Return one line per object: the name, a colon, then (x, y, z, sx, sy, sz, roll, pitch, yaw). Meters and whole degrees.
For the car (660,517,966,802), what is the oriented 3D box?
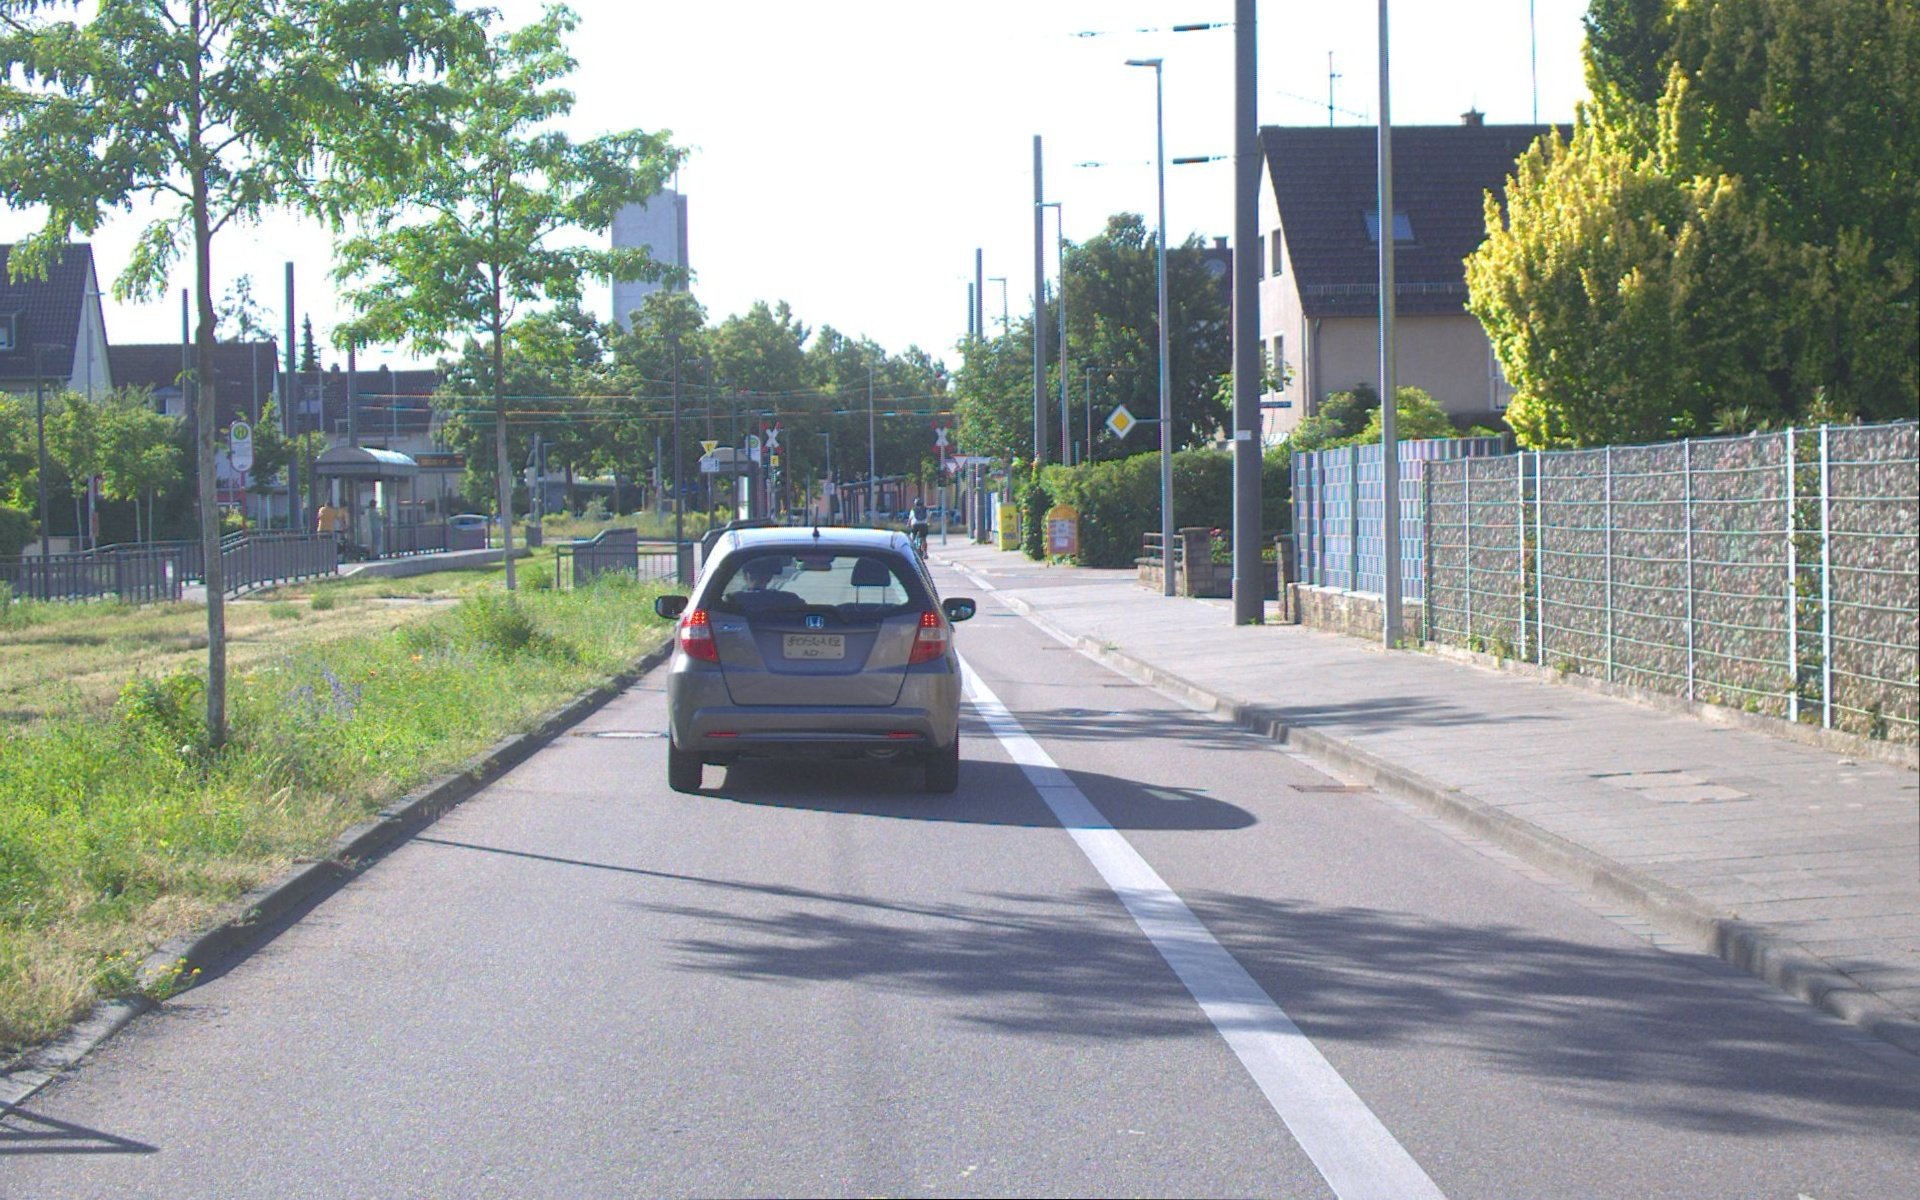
car: (-0.888, 0.289, 20.700, 1.670, 1.530, 3.488, 1, 2, -3)

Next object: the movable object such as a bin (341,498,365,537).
movable object such as a bin: (-15.645, -2.130, 88.586, 0.546, 0.984, 0.742, -1, 2, -6)

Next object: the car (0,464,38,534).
car: (-28.121, -2.858, 96.797, 3.986, 1.963, 1.933, 0, 1, -9)

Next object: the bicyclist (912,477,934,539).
bicyclist: (-1.009, -2.505, 93.620, 0.598, 1.695, 0.683, 0, 1, -1)

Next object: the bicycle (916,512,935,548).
bicycle: (-0.944, -1.909, 93.776, 0.475, 0.958, 1.657, 0, 1, -1)

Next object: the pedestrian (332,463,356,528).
pedestrian: (-16.234, -2.766, 90.610, 0.519, 1.702, 0.581, -1, 2, -6)

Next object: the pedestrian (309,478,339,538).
pedestrian: (-16.359, -2.369, 88.400, 0.675, 1.530, 0.749, -1, 2, -6)

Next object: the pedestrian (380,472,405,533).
pedestrian: (-16.171, -2.775, 97.917, 0.500, 1.690, 0.771, -3, 2, -1)
